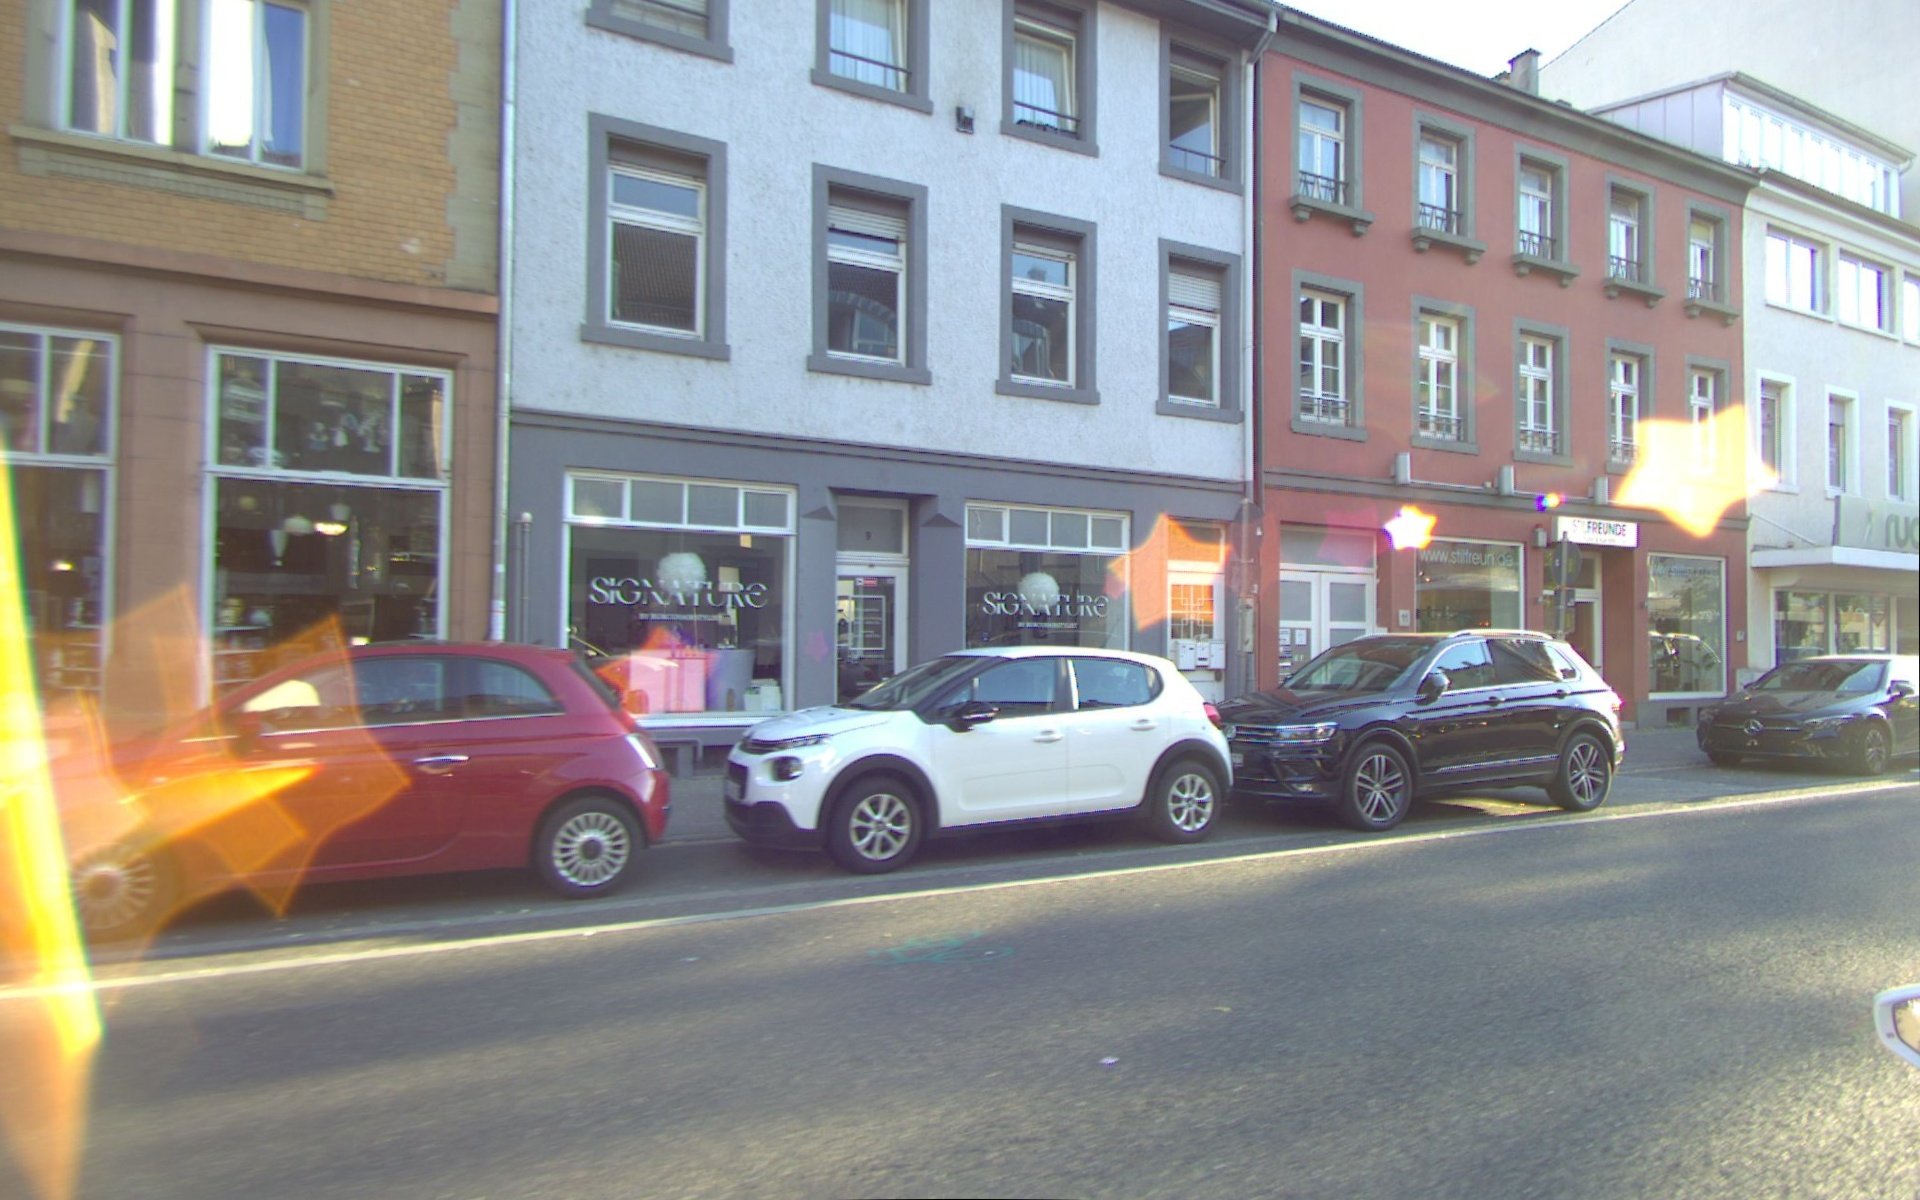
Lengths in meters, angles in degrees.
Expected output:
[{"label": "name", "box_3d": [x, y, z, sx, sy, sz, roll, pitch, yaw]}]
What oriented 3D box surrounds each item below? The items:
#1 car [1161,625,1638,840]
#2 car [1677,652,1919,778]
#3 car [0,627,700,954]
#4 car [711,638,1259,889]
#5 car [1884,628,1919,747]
[{"label": "car", "box_3d": [4.148, 1.116, 9.458, 4.180, 1.654, 1.769, 1, -4, -25]}, {"label": "car", "box_3d": [11.791, 1.434, 13.429, 4.251, 1.459, 1.708, 1, -3, -25]}, {"label": "car", "box_3d": [-3.509, 0.977, 6.200, 3.436, 1.534, 1.769, 1, -3, -25]}, {"label": "car", "box_3d": [0.193, 1.090, 7.819, 3.896, 1.534, 1.769, 1, -3, -25]}, {"label": "car", "box_3d": [17.367, 1.376, 16.256, 5.280, 1.833, 1.821, 1, -3, -27]}]
